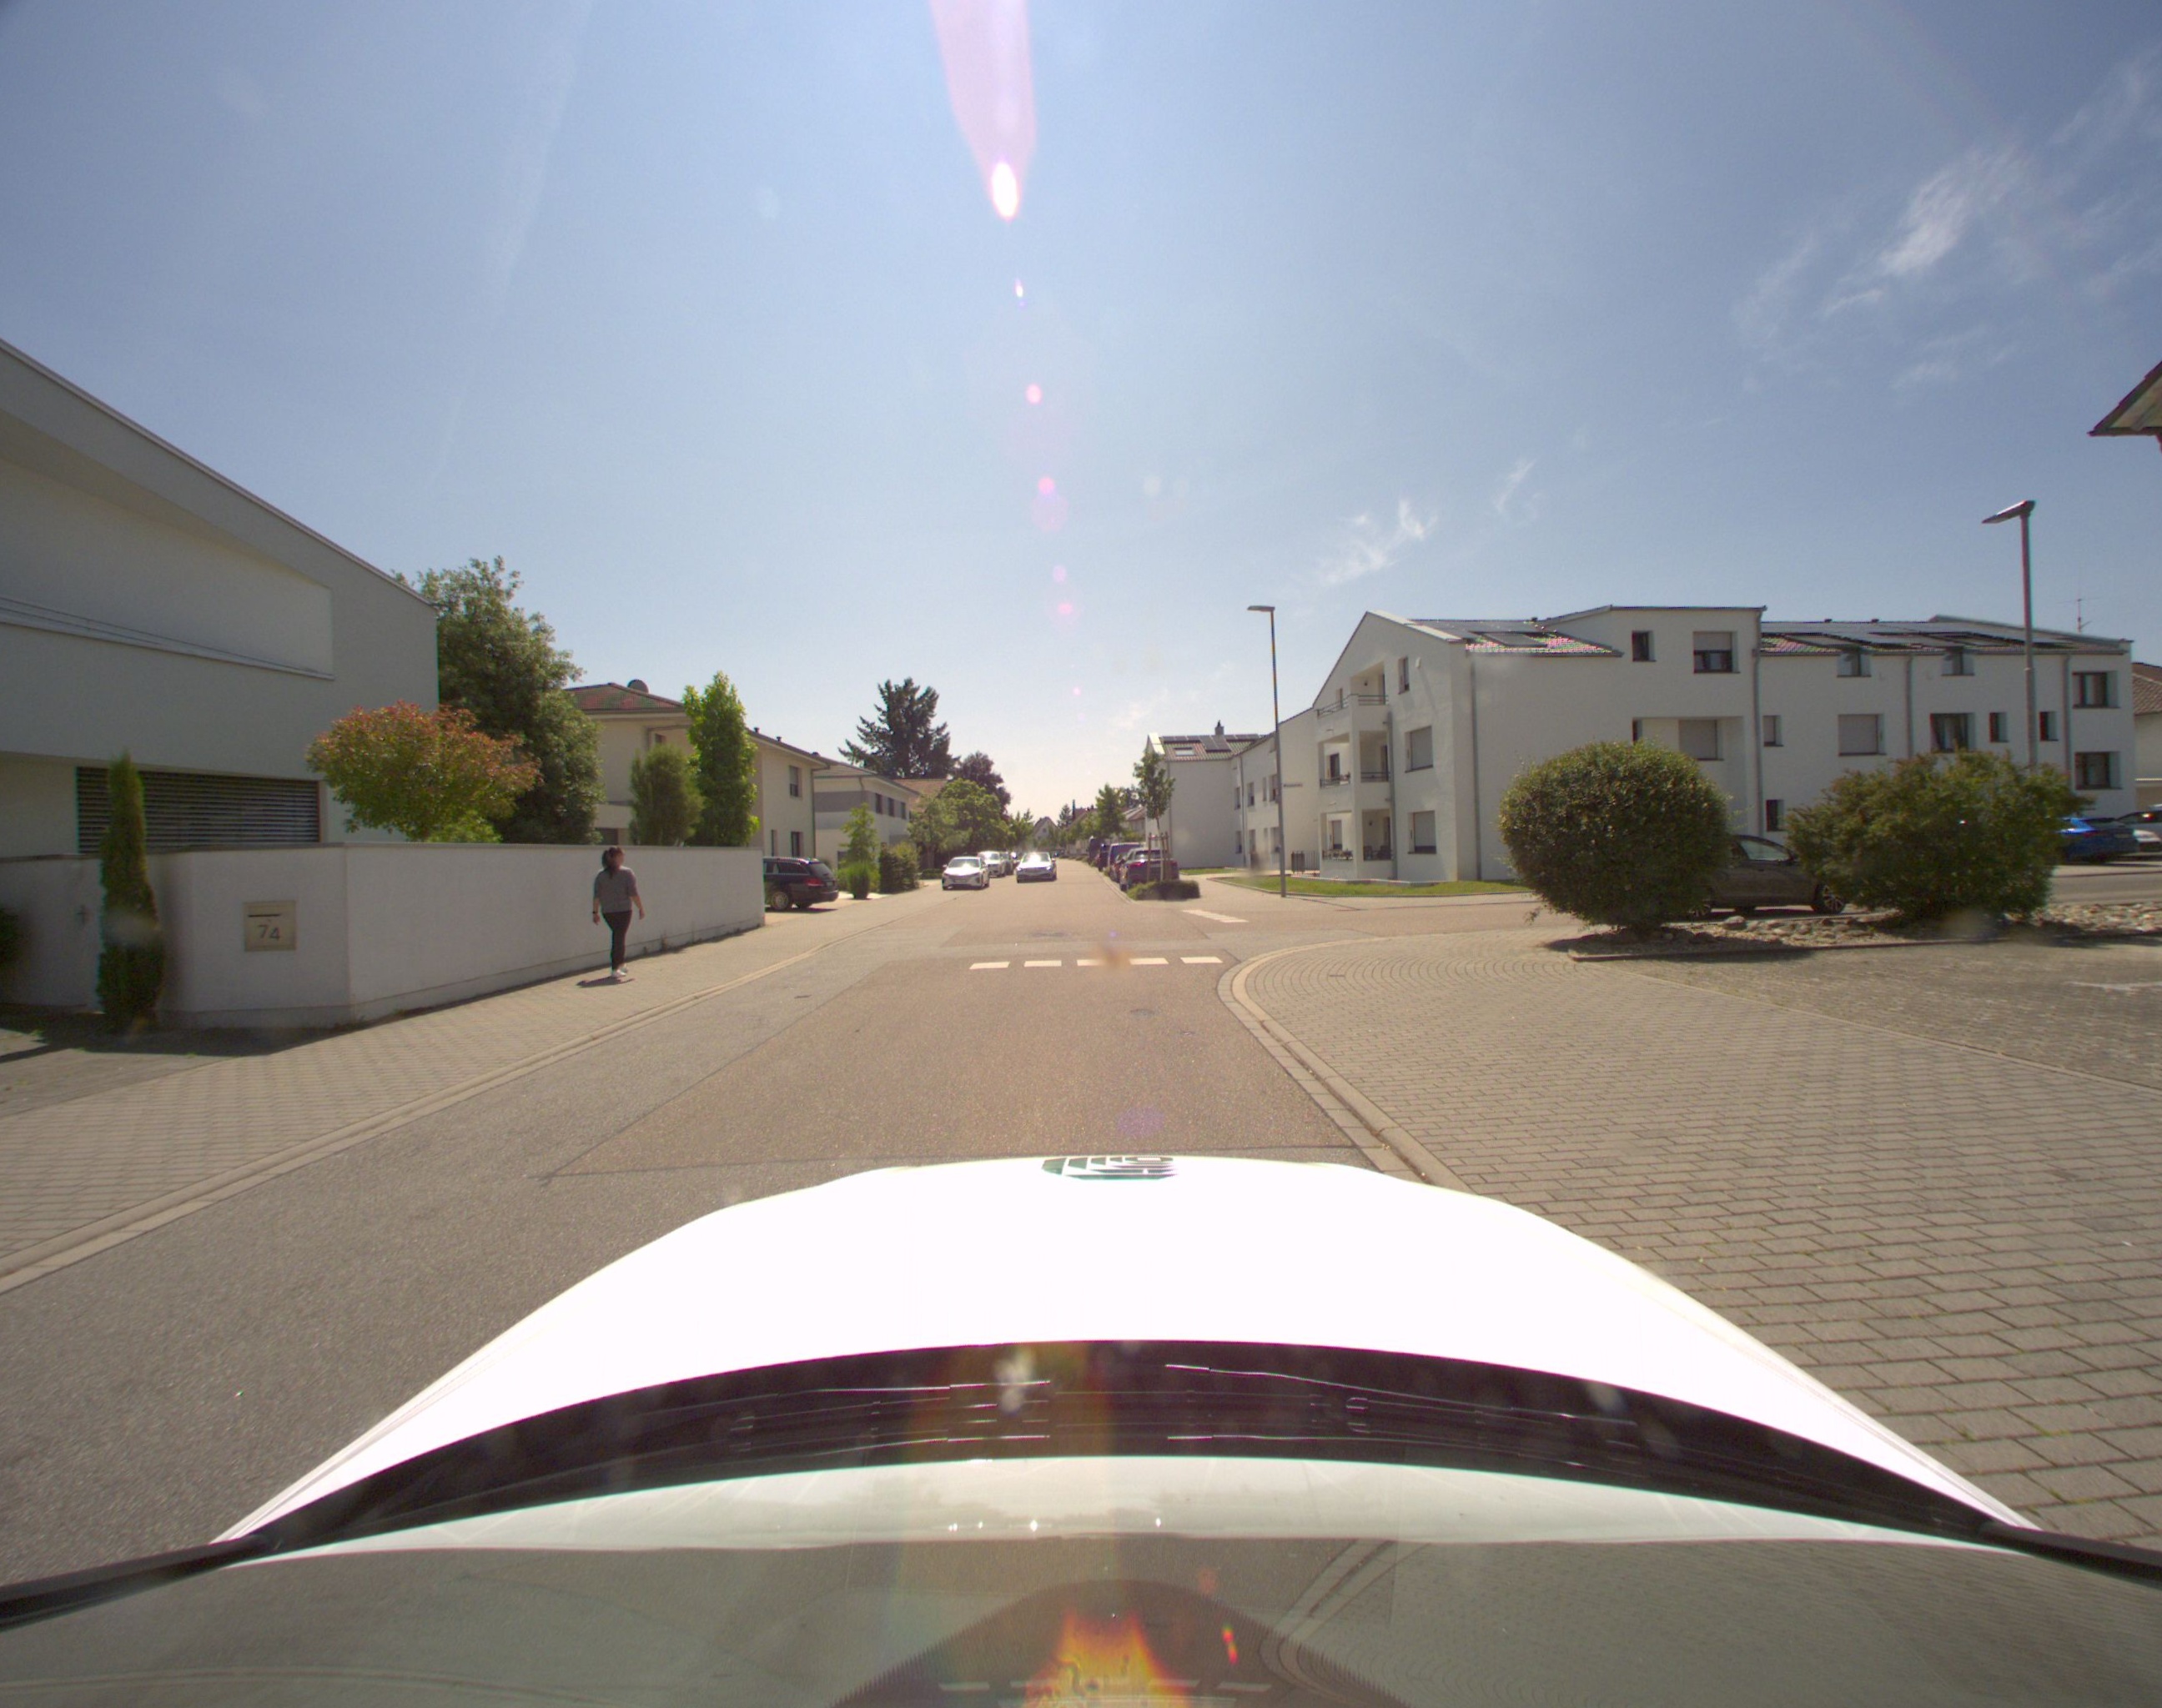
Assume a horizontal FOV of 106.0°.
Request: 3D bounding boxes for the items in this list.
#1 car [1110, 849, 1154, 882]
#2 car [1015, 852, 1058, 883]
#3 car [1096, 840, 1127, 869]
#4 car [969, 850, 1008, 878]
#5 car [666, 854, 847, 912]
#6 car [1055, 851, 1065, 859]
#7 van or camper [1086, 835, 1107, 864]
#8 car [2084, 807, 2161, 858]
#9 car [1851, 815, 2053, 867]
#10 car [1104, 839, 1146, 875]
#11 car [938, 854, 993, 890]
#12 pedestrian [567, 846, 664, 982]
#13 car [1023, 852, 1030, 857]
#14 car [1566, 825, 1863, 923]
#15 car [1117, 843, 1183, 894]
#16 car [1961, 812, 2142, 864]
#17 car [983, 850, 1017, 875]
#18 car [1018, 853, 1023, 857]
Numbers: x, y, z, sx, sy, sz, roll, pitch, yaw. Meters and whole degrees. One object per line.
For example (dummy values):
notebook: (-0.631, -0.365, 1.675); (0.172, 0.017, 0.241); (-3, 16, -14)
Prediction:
car: (2.434, 0.528, 39.418); (1.676, 1.441, 4.023); (-2, 0, -3)
car: (-2.290, 0.654, 43.180); (1.846, 1.478, 4.701); (-2, 0, 1)
car: (2.225, 0.022, 60.294); (1.987, 1.947, 5.213); (-3, 0, 0)
car: (-5.945, 0.631, 52.759); (1.921, 1.687, 4.497); (-2, 0, 0)
car: (-9.266, 0.799, 23.501); (4.410, 1.473, 1.852); (1, 0, 3)
car: (-4.660, 0.198, 179.389); (1.987, 1.574, 3.999); (-2, 0, 0)
van or camper: (1.602, -0.431, 85.144); (1.987, 2.941, 3.999); (-1, 0, -1)
car: (34.260, -0.703, 25.556); (1.457, 1.576, 3.208); (-2, 0, -8)
car: (26.622, -0.385, 25.118); (1.748, 1.412, 3.998); (-2, 0, -7)
car: (2.434, 0.161, 46.035); (2.092, 1.882, 4.843); (-2, 0, 1)
car: (-5.270, 0.789, 37.660); (1.846, 1.488, 4.384); (-2, 0, 0)
pedestrian: (-6.307, 0.775, 11.091); (0.712, 1.747, 0.960); (-2, 0, 0)
car: (-16.060, 0.135, 239.557); (1.661, 1.250, 3.924); (-2, 0, -6)
car: (11.029, 0.317, 14.337); (3.984, 1.467, 1.753); (-2, 0, -5)
car: (2.391, 0.470, 29.326); (1.769, 1.595, 4.275); (-3, 0, -3)
car: (29.097, -0.460, 24.551); (1.457, 1.441, 3.208); (-2, 0, -8)
car: (-5.865, 0.612, 59.184); (1.987, 1.680, 4.213); (-2, 0, 0)
car: (-18.370, 0.224, 248.544); (1.188, 1.070, 3.043); (-2, 0, -10)
